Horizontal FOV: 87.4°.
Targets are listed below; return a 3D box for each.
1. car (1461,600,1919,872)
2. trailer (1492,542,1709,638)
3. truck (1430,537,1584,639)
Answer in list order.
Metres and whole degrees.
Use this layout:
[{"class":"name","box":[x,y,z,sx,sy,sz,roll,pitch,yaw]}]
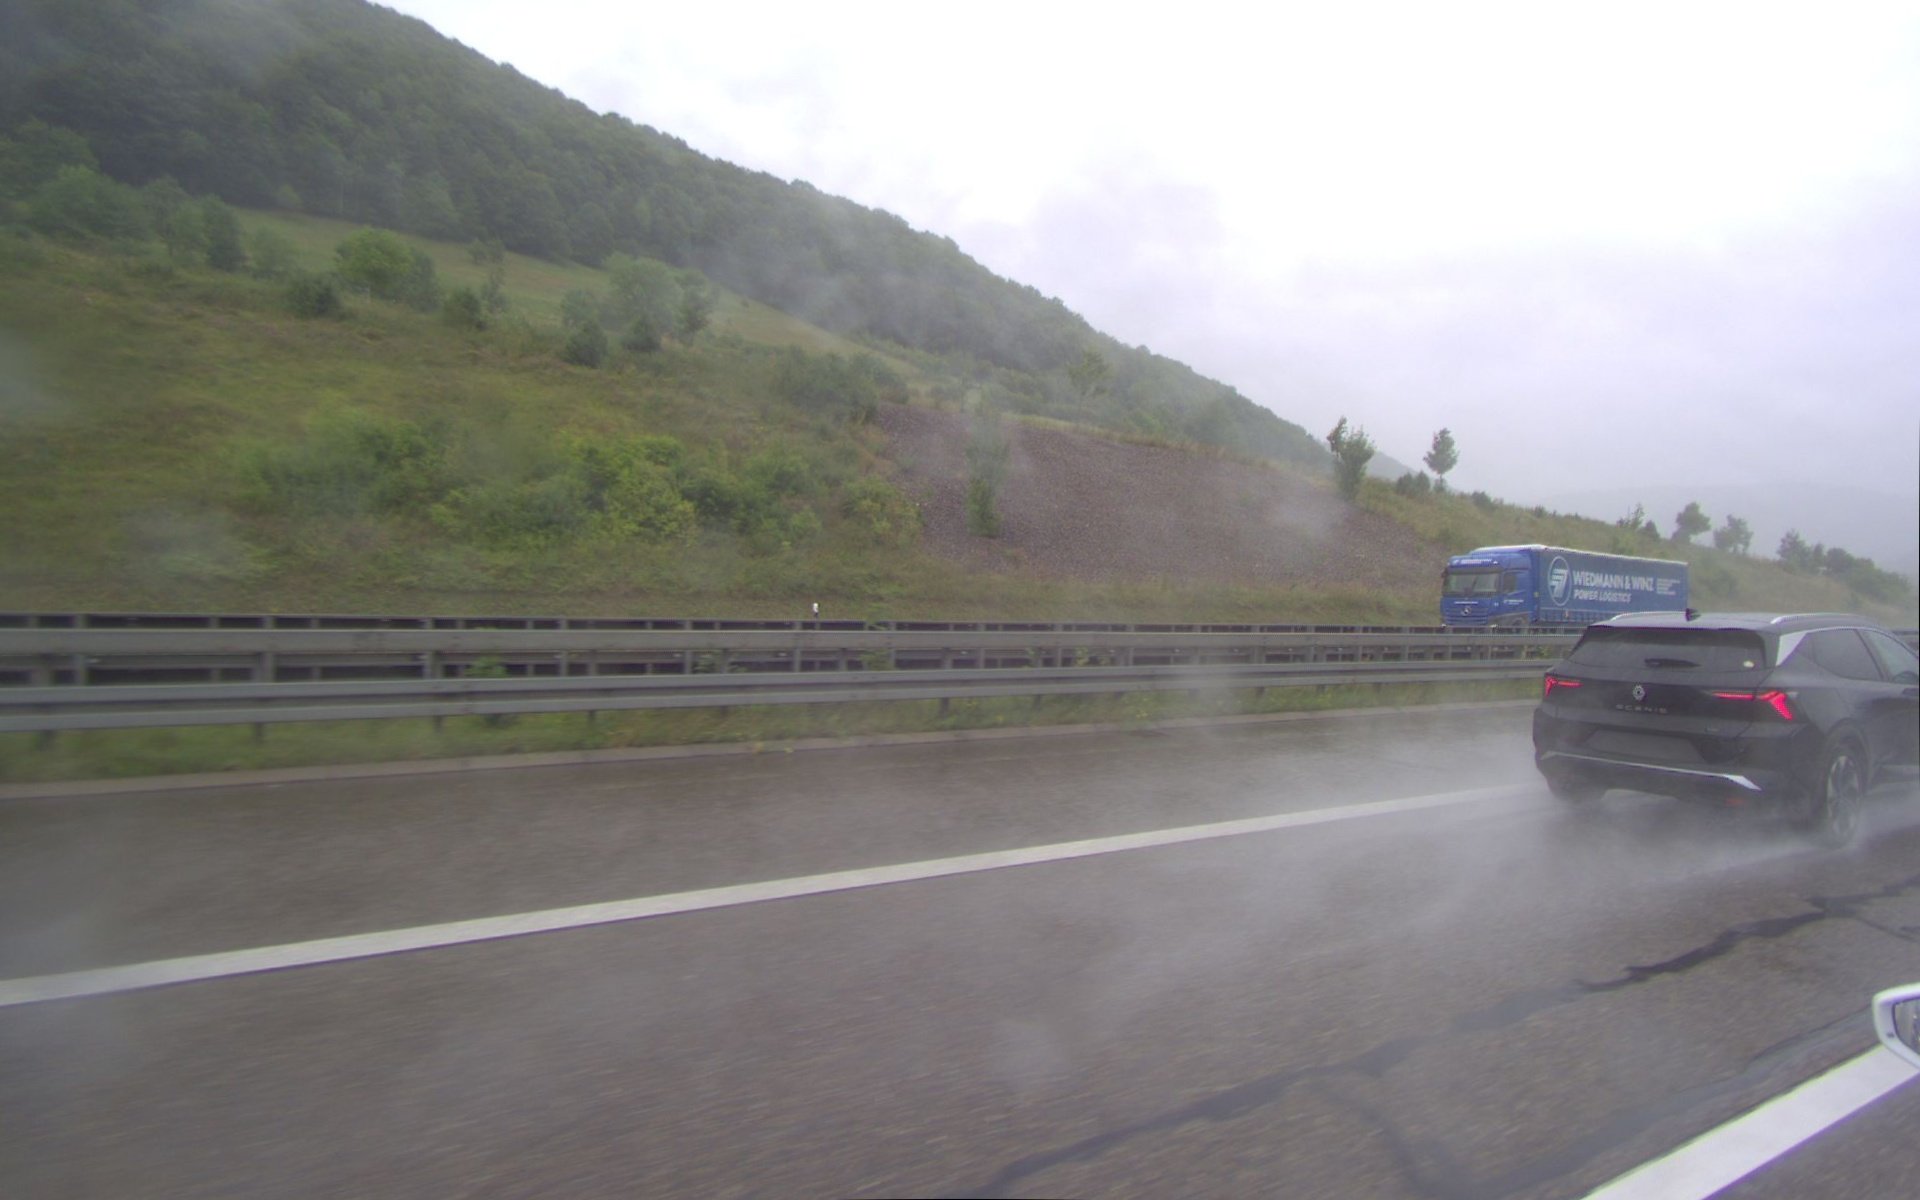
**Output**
[{"class":"car","box":[6.615,0.852,8.167,4.730,1.536,2.393,1,1,-32]},{"class":"trailer","box":[28.374,-0.276,44.100,13.102,3.730,2.797,1,0,-33]},{"class":"truck","box":[21.707,-0.389,39.783,6.140,3.732,2.764,1,0,-33]}]
